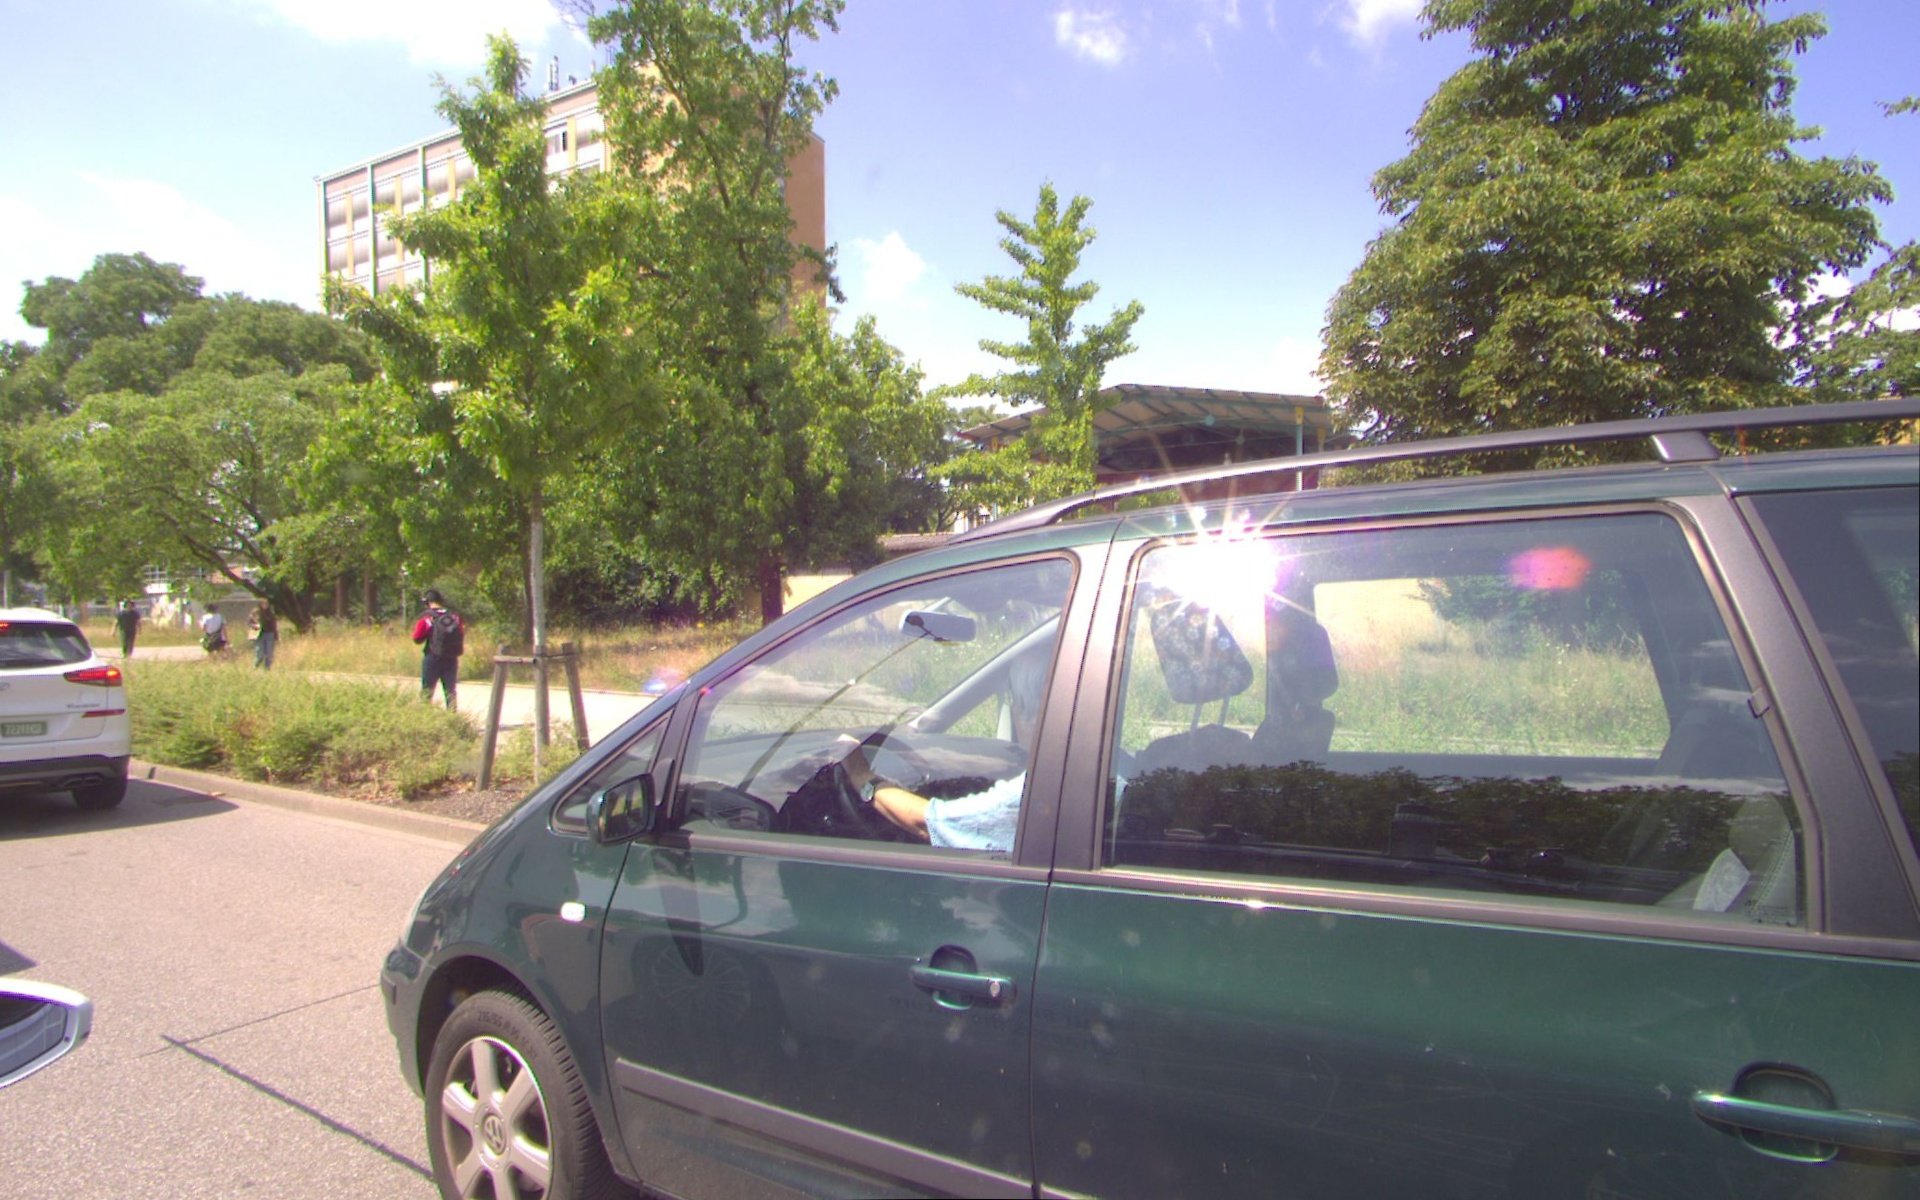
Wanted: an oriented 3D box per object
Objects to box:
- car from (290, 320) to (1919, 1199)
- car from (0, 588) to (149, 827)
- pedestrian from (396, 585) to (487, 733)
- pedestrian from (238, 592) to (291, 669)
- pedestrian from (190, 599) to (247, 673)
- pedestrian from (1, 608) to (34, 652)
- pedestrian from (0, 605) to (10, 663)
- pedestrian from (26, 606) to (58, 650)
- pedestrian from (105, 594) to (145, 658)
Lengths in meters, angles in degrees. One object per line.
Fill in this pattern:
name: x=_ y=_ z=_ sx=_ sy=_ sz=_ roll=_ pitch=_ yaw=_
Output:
car: x=0.540 y=0.633 z=2.277 sx=4.329 sy=1.737 sz=1.799 roll=0 pitch=-2 yaw=32
car: x=-8.470 y=0.775 z=8.182 sx=3.919 sy=1.700 sz=1.810 roll=0 pitch=0 yaw=34
pedestrian: x=-6.265 y=0.686 z=12.099 sx=0.807 sy=1.706 sz=0.754 roll=0 pitch=1 yaw=44
pedestrian: x=-15.592 y=0.670 z=22.452 sx=0.805 sy=1.677 sz=0.756 roll=0 pitch=1 yaw=36
pedestrian: x=-16.161 y=0.762 z=21.832 sx=0.805 sy=1.578 sz=0.757 roll=0 pitch=1 yaw=33
pedestrian: x=-40.067 y=1.260 z=42.573 sx=0.802 sy=1.874 sz=0.759 roll=0 pitch=1 yaw=22
pedestrian: x=-31.390 y=1.103 z=32.399 sx=0.805 sy=1.874 sz=0.757 roll=0 pitch=1 yaw=33
pedestrian: x=-39.860 y=1.198 z=43.495 sx=0.803 sy=1.874 sz=0.759 roll=0 pitch=1 yaw=24
pedestrian: x=-24.084 y=0.742 z=28.888 sx=0.806 sy=1.813 sz=0.755 roll=0 pitch=0 yaw=40
